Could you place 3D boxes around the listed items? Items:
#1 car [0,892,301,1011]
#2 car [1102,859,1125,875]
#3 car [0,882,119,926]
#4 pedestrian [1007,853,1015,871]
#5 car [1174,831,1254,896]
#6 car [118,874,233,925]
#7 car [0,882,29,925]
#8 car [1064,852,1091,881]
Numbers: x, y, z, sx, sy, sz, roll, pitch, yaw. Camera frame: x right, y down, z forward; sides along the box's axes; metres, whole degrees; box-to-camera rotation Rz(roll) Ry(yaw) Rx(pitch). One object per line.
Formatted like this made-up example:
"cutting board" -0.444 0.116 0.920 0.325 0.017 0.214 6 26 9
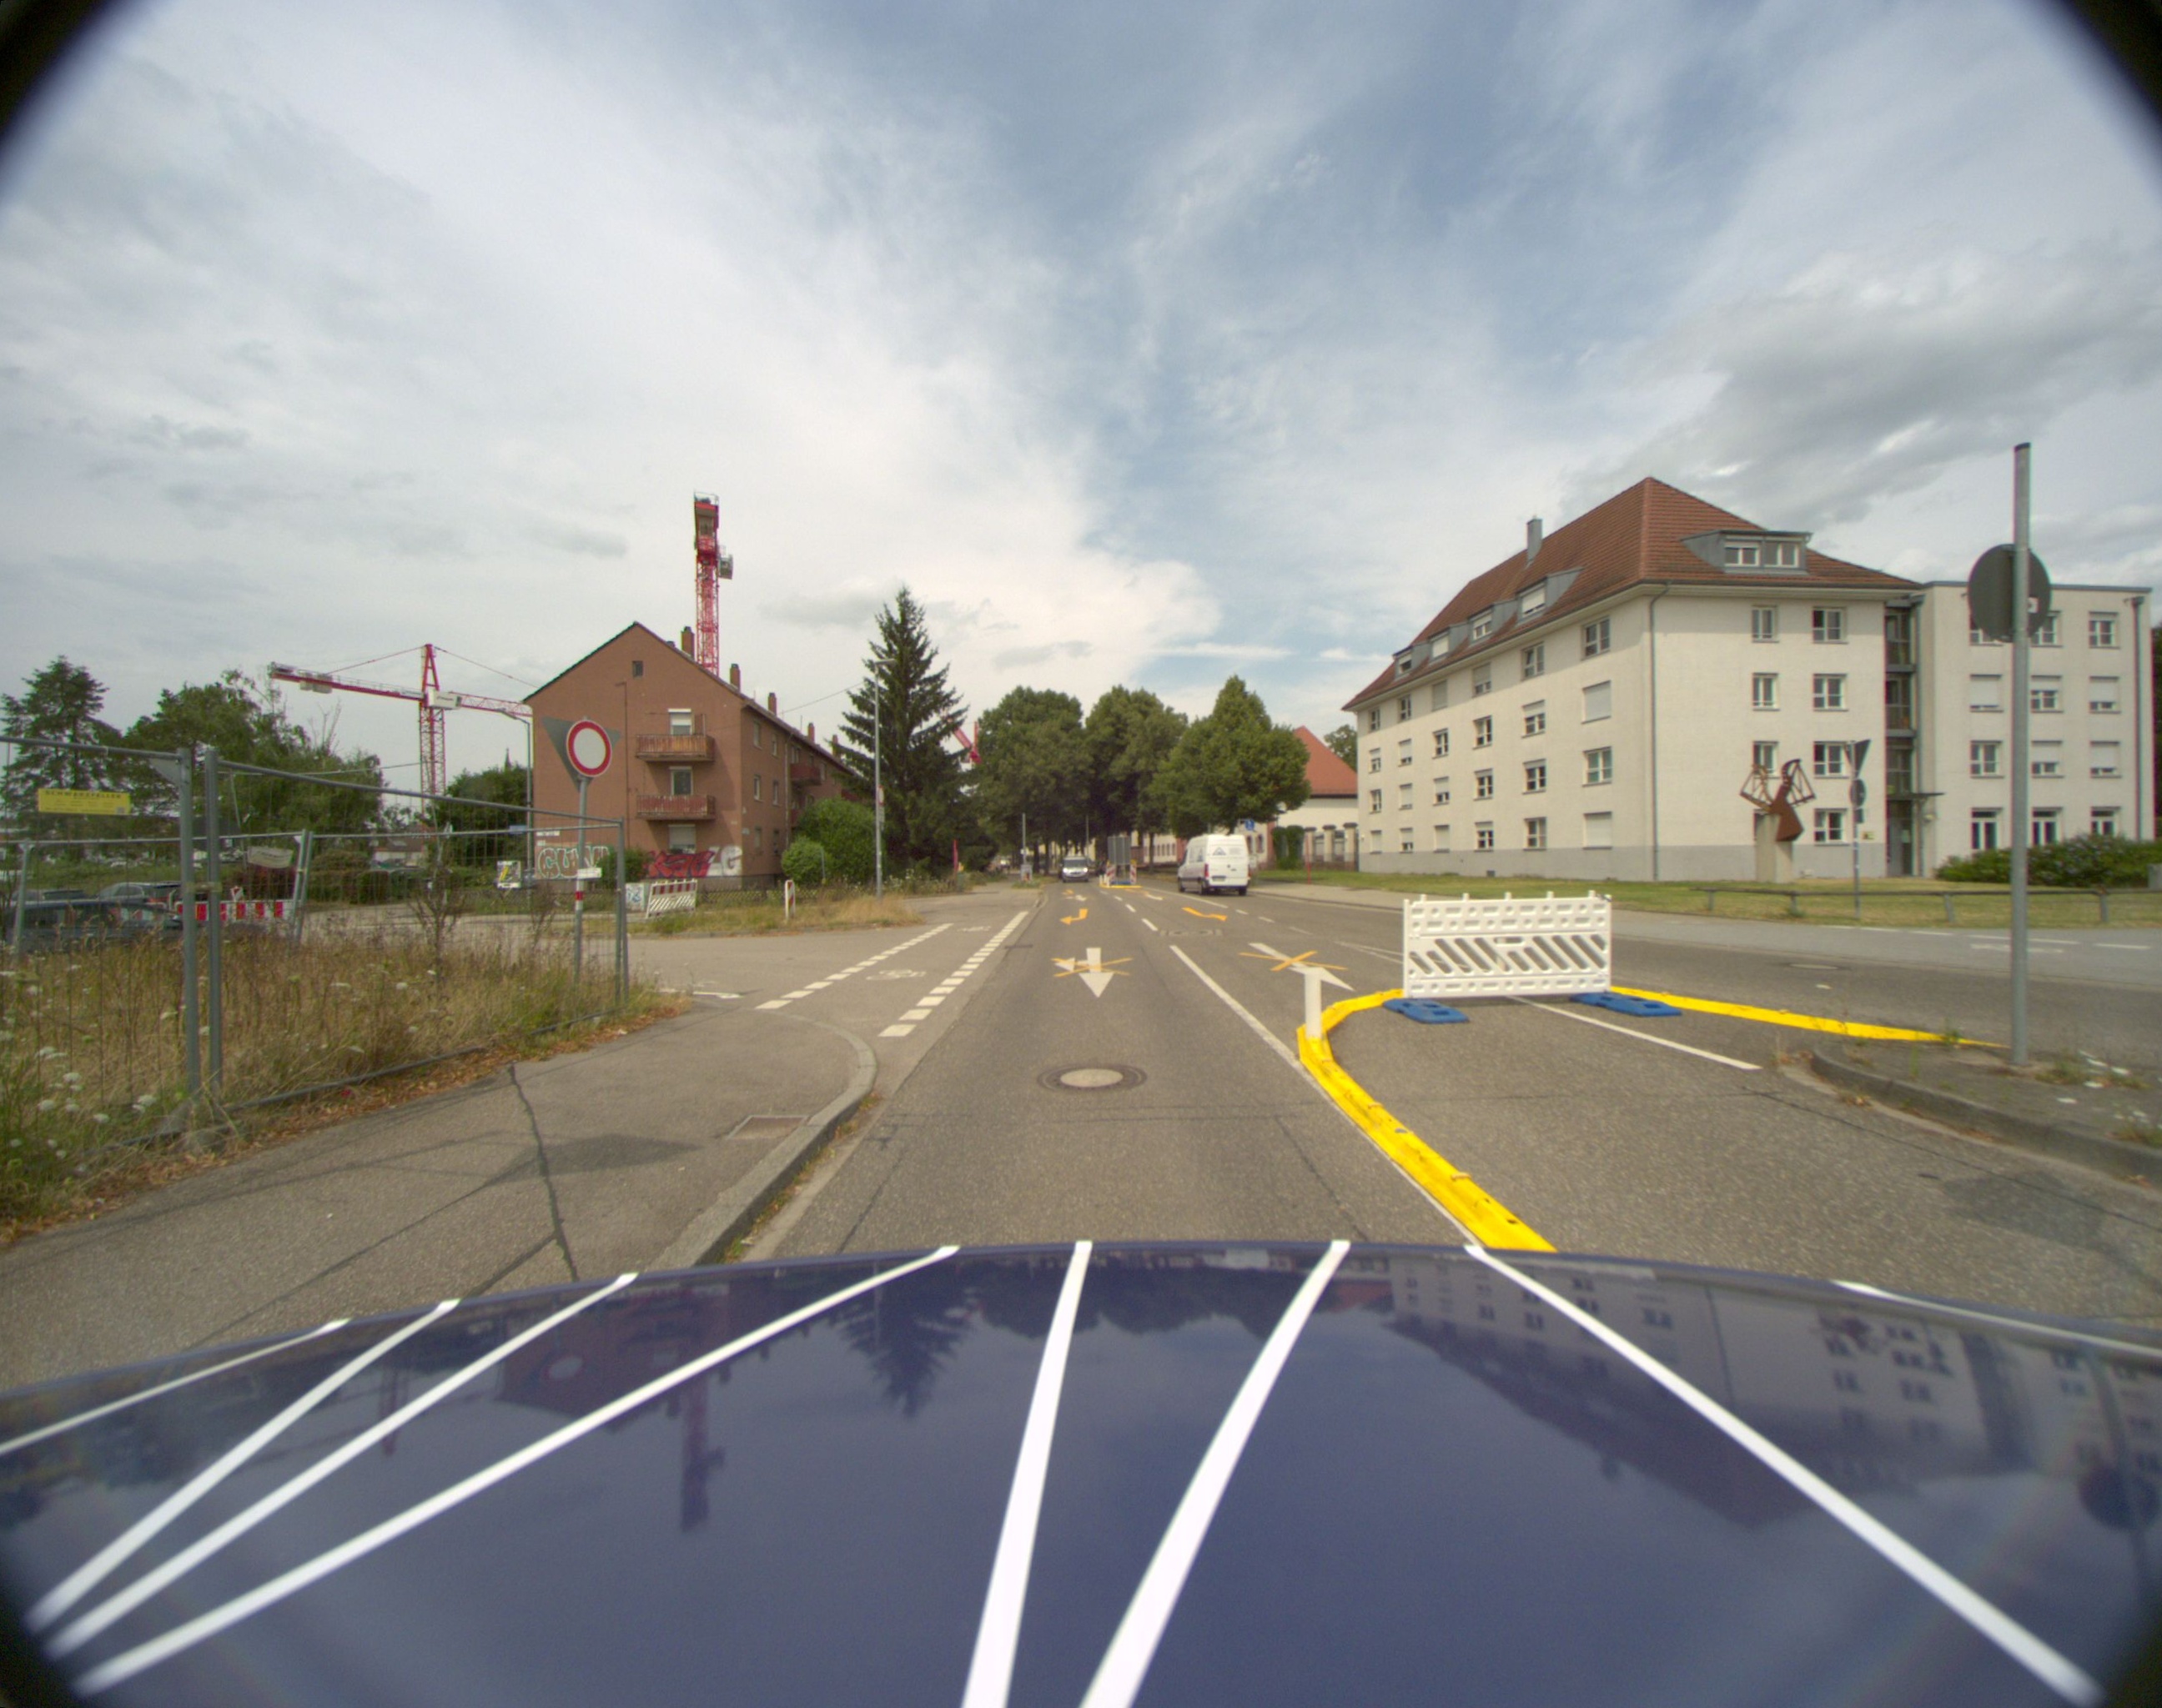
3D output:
"car" -15.829 1.472 12.278 1.765 1.465 4.261 -1 0 7
"car" 2.914 1.153 68.410 1.676 1.402 3.919 -1 0 -3
"car" -40.848 1.983 30.163 4.006 1.593 1.804 -1 0 14
"pedestrian" -7.596 0.870 82.721 0.856 2.002 0.731 -1 0 -6
"car" 5.923 0.395 34.716 2.071 2.670 5.967 -1 0 -5
"car" -35.438 1.735 29.737 3.990 1.838 1.805 -1 0 24
"car" -45.859 2.067 31.111 4.006 1.739 1.859 -1 0 14
"car" -0.246 0.849 53.157 1.810 1.936 4.584 -1 0 -1
